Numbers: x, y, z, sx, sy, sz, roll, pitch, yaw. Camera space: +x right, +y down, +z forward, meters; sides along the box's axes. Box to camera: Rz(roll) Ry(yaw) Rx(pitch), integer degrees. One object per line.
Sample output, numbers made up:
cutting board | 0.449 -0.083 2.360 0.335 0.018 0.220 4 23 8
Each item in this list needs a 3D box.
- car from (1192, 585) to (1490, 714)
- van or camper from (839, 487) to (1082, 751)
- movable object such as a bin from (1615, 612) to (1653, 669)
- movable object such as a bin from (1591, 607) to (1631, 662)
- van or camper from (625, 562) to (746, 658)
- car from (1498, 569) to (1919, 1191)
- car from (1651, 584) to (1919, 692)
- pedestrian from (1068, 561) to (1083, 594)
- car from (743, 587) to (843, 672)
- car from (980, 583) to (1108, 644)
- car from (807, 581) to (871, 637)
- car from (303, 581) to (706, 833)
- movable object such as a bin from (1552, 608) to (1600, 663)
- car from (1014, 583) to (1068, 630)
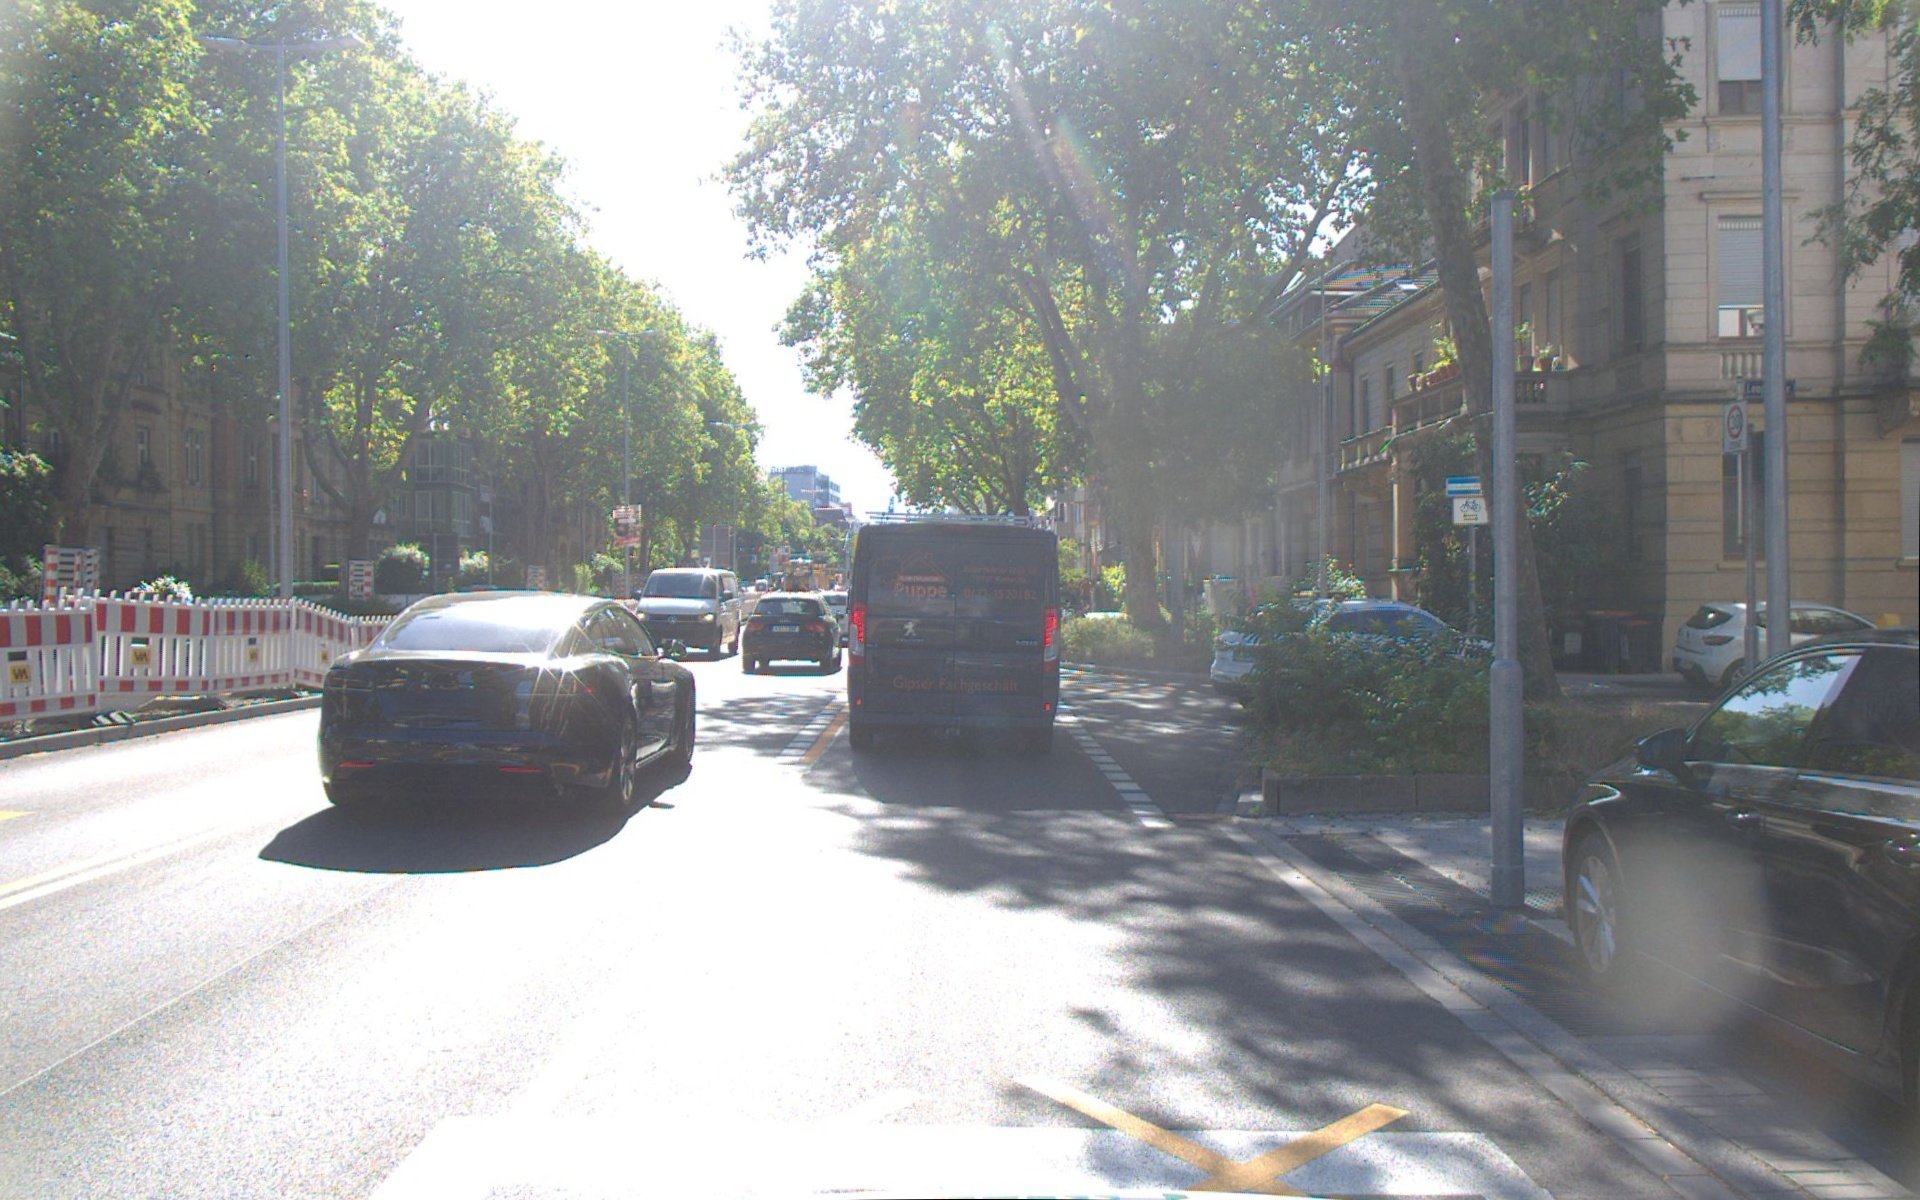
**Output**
car | 4.990 0.615 21.381 4.023 1.512 1.811 0 -2 -43
van or camper | -0.080 0.155 17.283 2.200 2.387 4.535 0 0 -2
movable object such as a bin | 11.960 0.713 29.344 0.508 0.987 0.398 -1 0 1
movable object such as a bin | 11.789 0.618 29.969 0.508 0.987 0.548 -1 0 1
van or camper | -6.206 0.192 38.033 1.953 2.049 5.328 0 0 -1
car | 3.140 0.677 5.002 1.587 1.511 4.096 -2 0 -1
car | 13.254 0.569 26.187 3.848 1.588 1.873 0 2 0
pedestrian | 8.441 -1.656 120.701 1.036 2.387 0.816 1 0 2
car | -3.133 0.522 31.599 1.587 1.512 3.733 0 0 -1
car | 2.273 0.348 45.842 1.752 1.596 3.964 1 0 -28
car | -3.394 0.226 46.772 1.587 1.512 3.733 0 0 -1
car | -3.077 0.626 12.170 1.800 1.509 4.475 0 0 -1
movable object such as a bin | 11.372 0.646 30.553 0.673 0.987 0.548 -1 0 1
car | 2.838 0.205 58.643 1.736 1.596 4.000 -1 0 1
